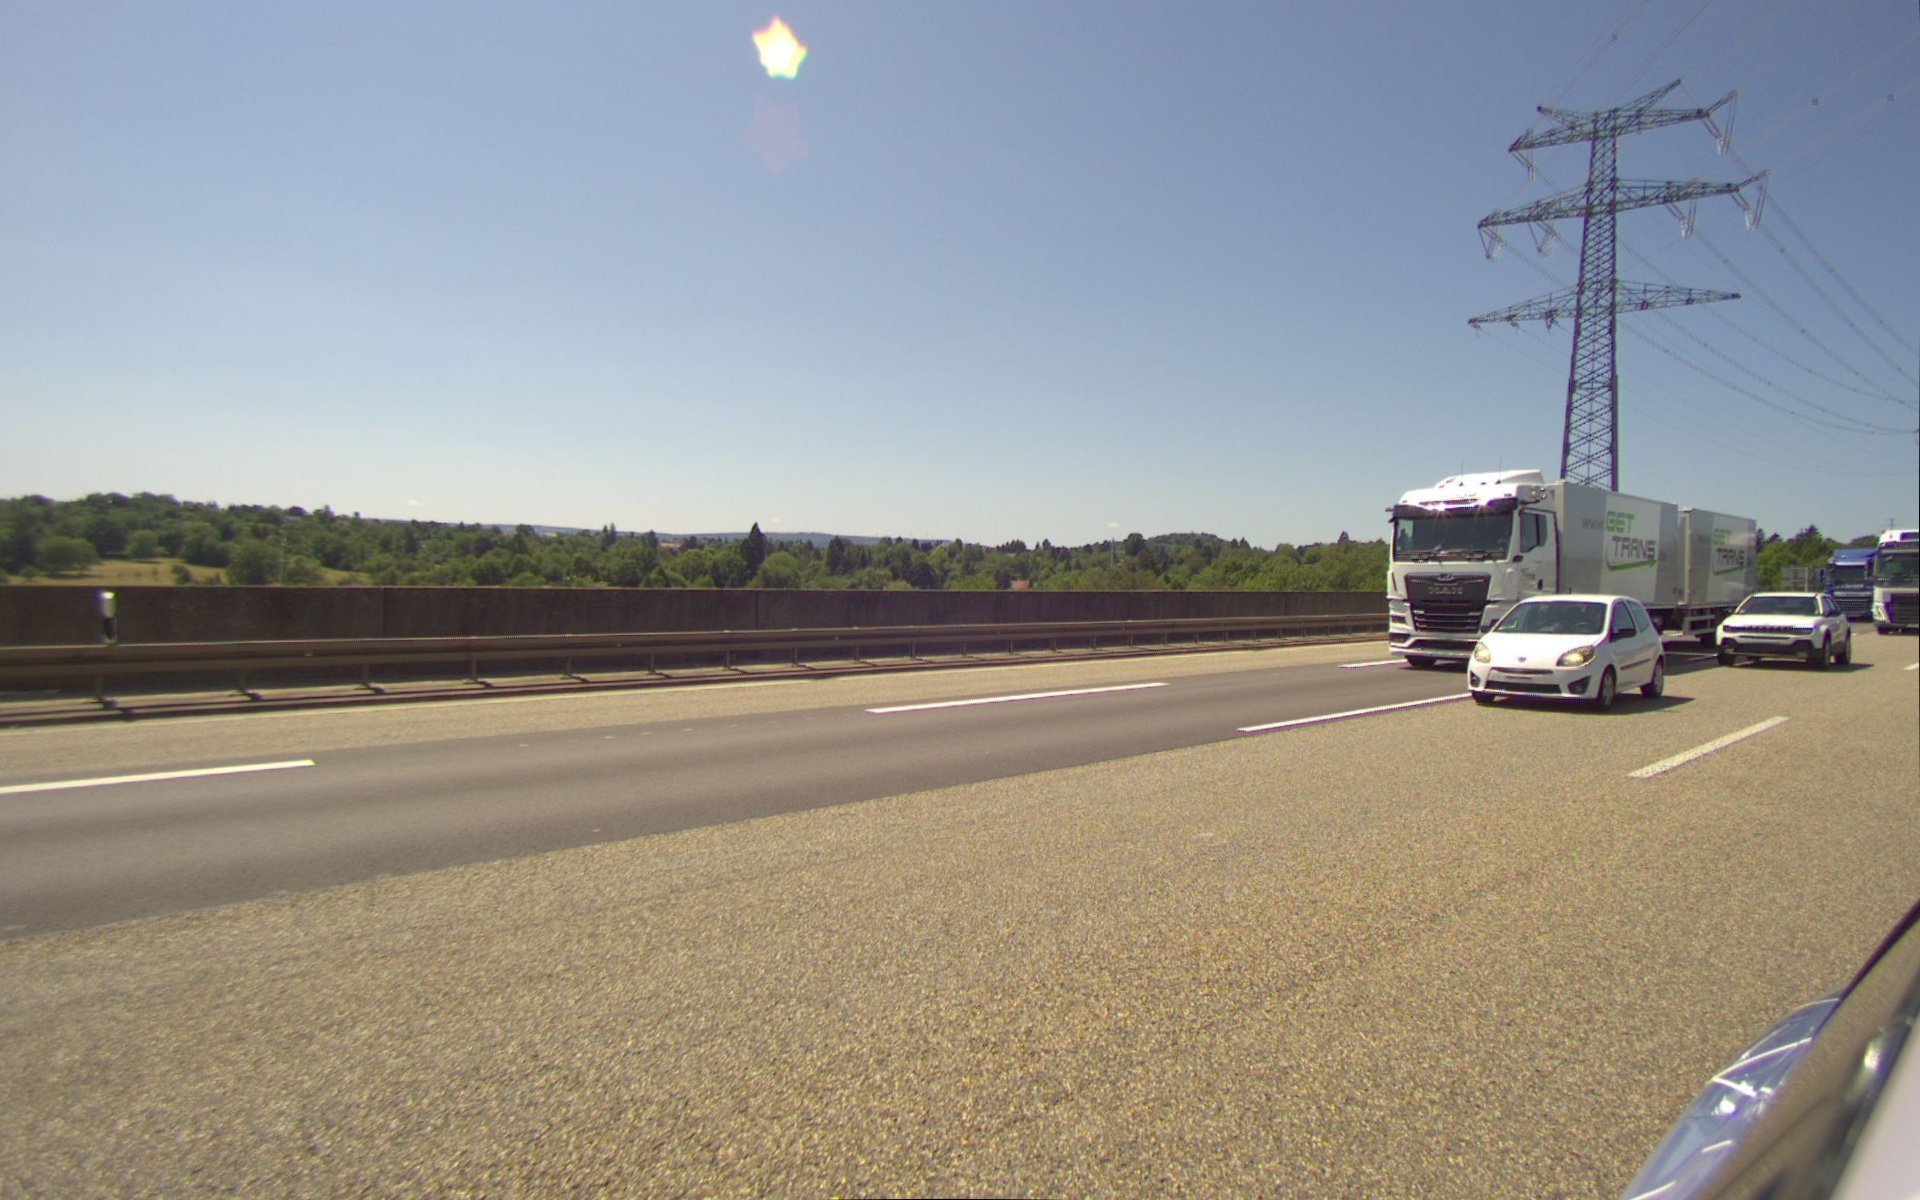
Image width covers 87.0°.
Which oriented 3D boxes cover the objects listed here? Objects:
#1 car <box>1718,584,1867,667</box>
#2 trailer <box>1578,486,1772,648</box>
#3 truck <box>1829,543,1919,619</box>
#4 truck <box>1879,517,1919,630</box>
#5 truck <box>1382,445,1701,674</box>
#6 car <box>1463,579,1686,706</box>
[{"bbox_3d":[17.401,0.465,21.100,3.784,1.549,1.775,-1,1,-41],"label":"car"},{"bbox_3d":[20.277,-0.851,28.499,7.639,3.991,2.749,-1,0,-41],"label":"trailer"},{"bbox_3d":[51.434,-1.090,56.615,11.081,3.929,2.837,-1,1,-42],"label":"truck"},{"bbox_3d":[40.097,-0.995,40.884,14.005,4.090,2.716,0,0,-41],"label":"truck"},{"bbox_3d":[13.230,-0.762,22.283,11.102,3.980,2.693,-1,0,-42],"label":"truck"},{"bbox_3d":[8.599,0.507,14.052,3.760,1.529,1.657,0,0,-42],"label":"car"}]
